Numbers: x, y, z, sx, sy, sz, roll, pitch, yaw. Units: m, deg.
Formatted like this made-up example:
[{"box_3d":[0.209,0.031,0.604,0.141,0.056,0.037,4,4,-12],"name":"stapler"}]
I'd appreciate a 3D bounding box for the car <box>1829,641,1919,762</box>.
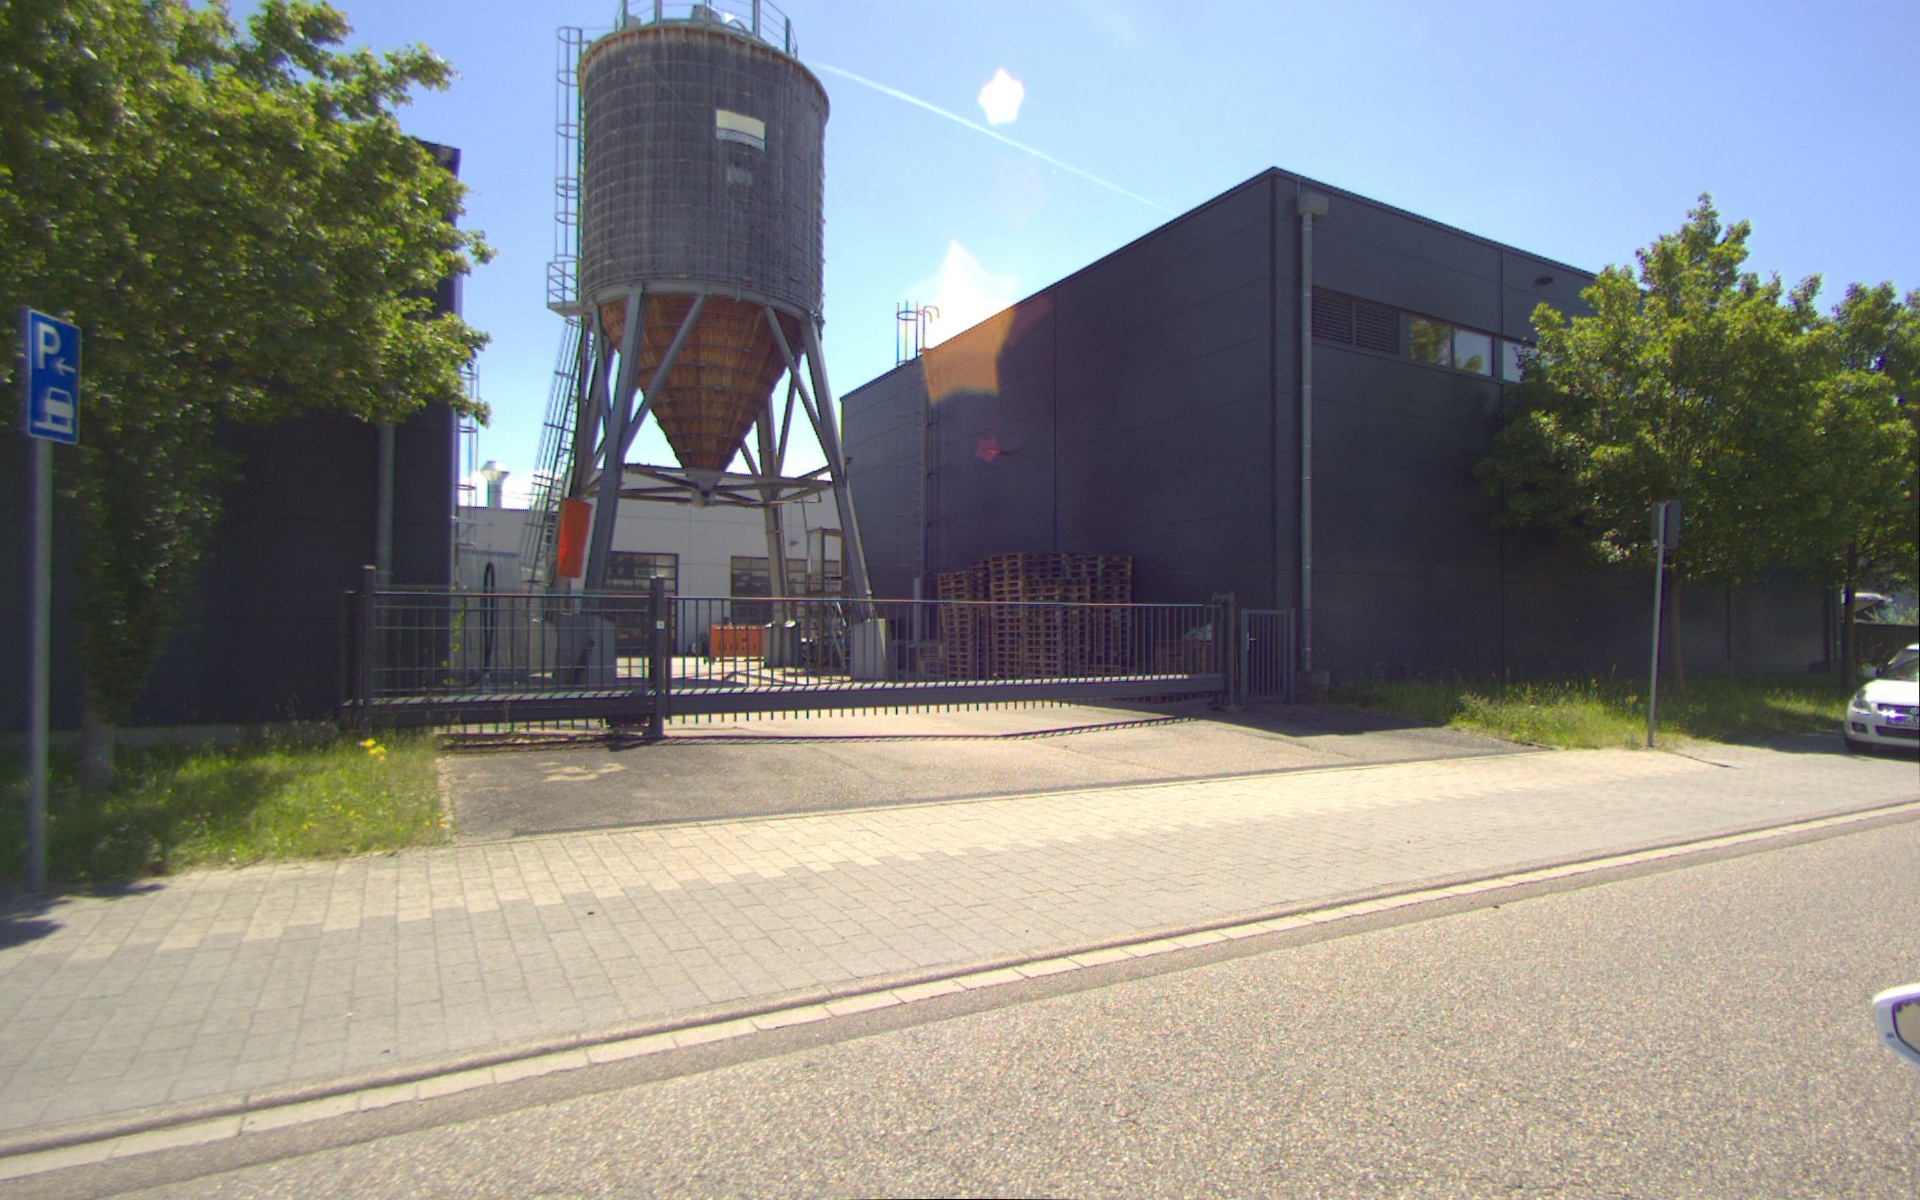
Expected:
[{"box_3d":[13.638,1.339,13.660,3.814,1.495,1.711,2,-1,-32],"name":"car"}]
